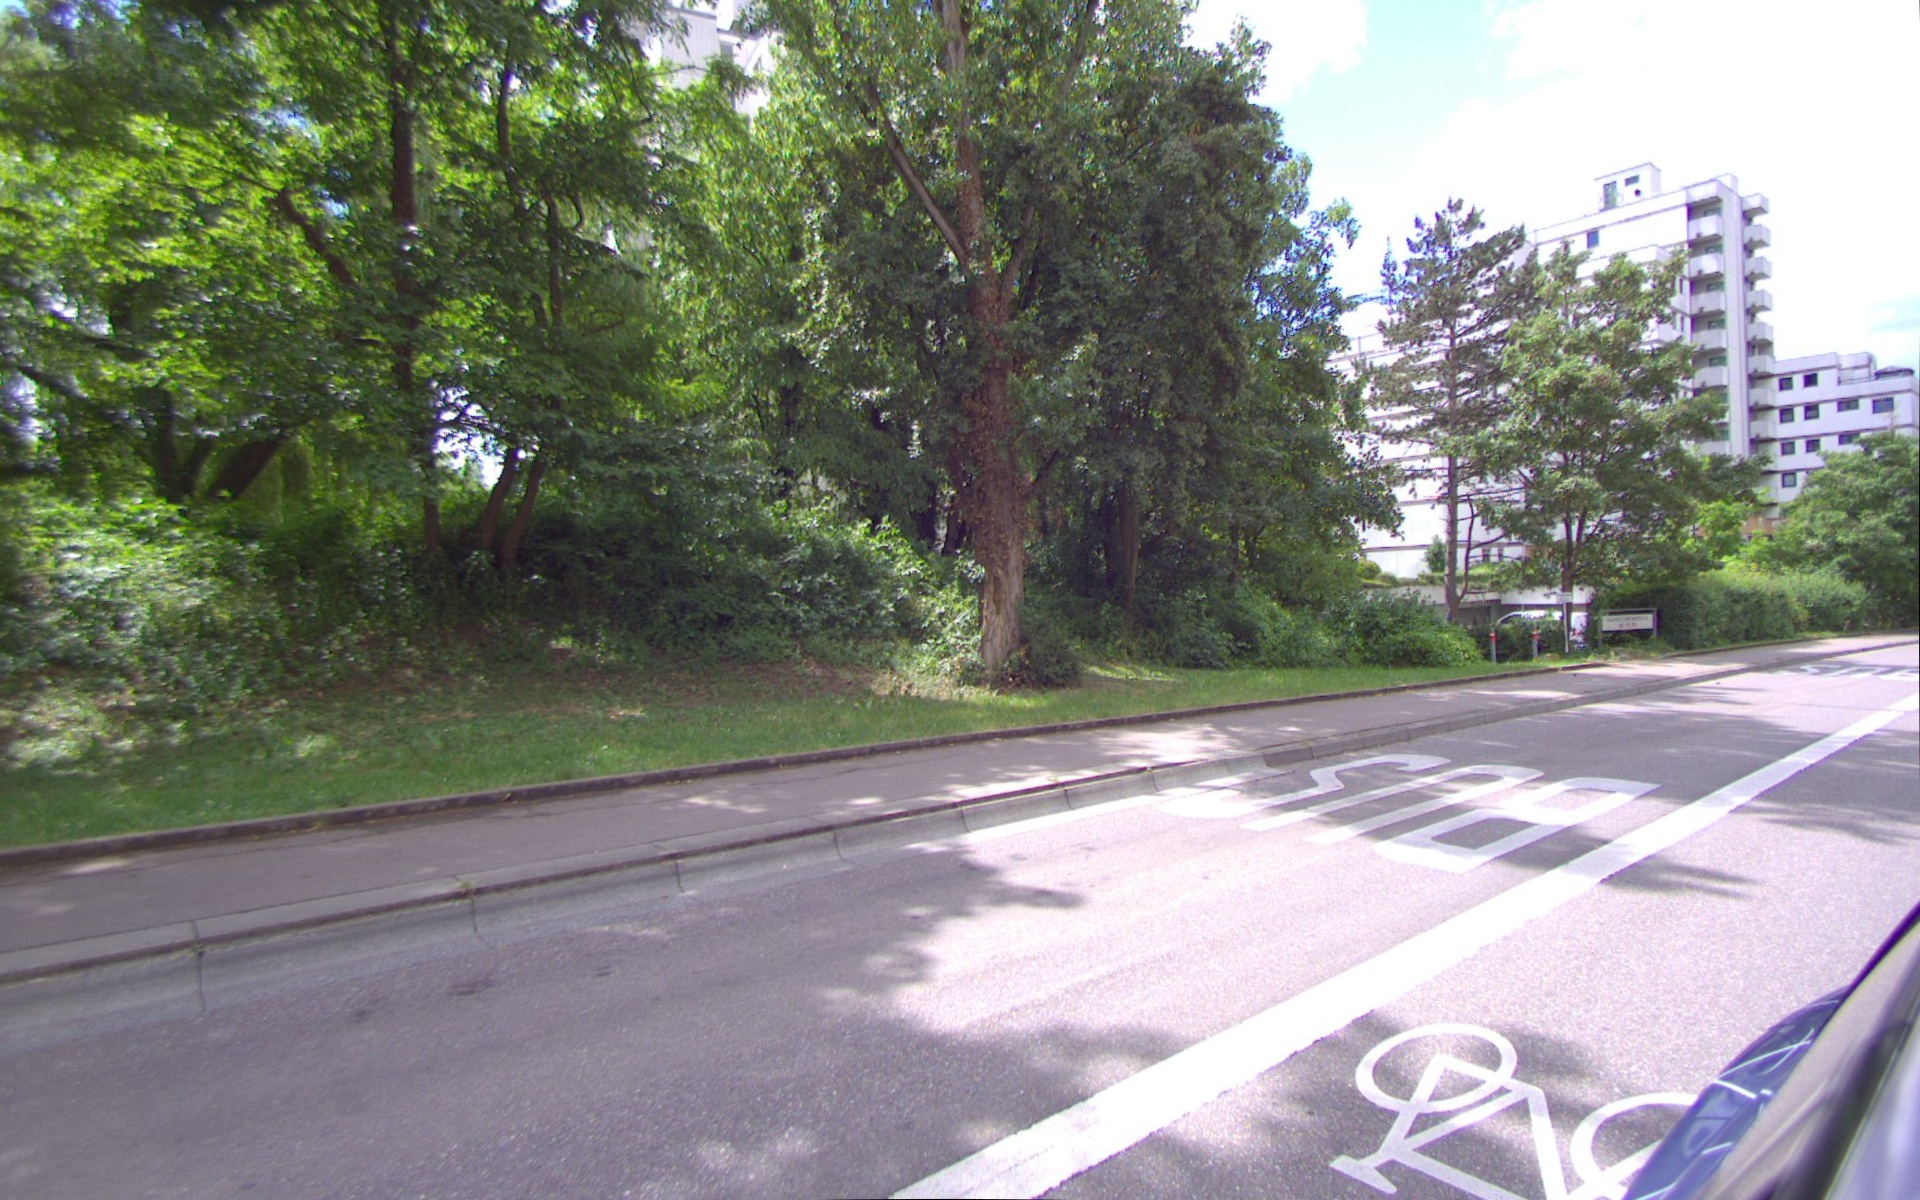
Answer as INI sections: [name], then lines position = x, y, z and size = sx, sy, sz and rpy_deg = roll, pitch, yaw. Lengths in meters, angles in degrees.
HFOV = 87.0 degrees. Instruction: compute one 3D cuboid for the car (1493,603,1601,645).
[car]
position = 31.045, 1.223, 53.638
size = 1.962, 2.039, 4.549
rpy_deg = -1, 0, -34
